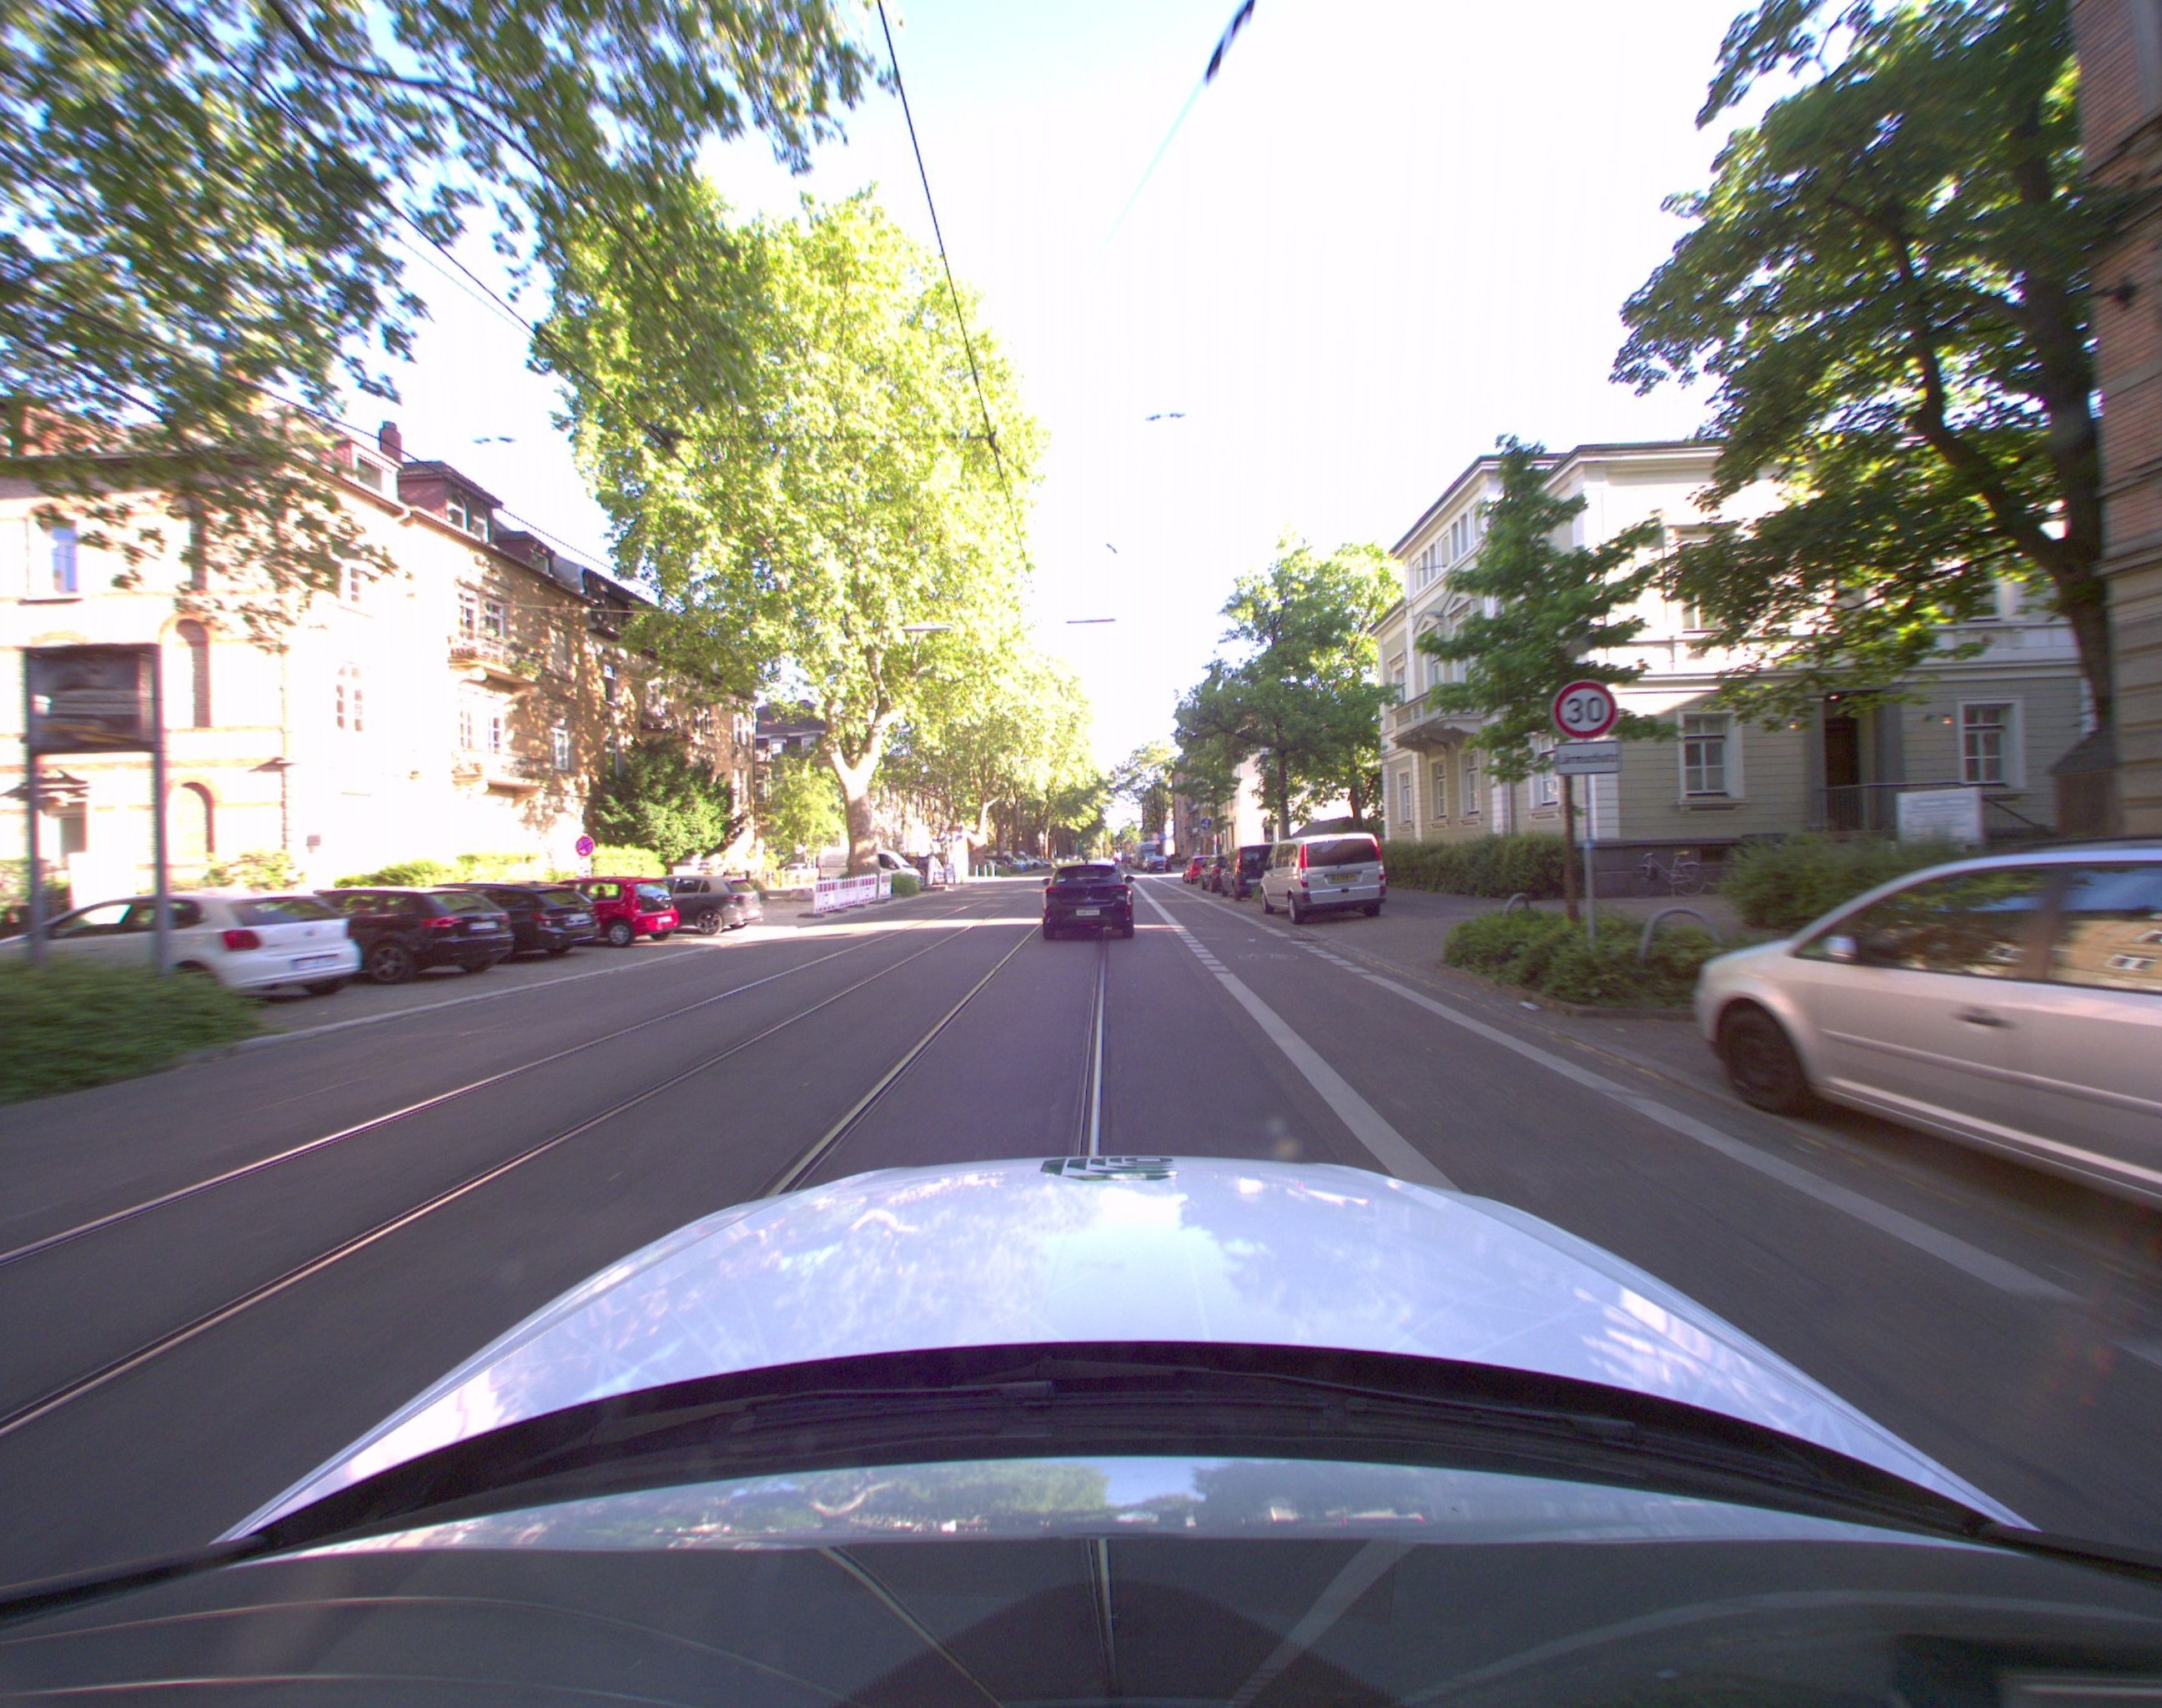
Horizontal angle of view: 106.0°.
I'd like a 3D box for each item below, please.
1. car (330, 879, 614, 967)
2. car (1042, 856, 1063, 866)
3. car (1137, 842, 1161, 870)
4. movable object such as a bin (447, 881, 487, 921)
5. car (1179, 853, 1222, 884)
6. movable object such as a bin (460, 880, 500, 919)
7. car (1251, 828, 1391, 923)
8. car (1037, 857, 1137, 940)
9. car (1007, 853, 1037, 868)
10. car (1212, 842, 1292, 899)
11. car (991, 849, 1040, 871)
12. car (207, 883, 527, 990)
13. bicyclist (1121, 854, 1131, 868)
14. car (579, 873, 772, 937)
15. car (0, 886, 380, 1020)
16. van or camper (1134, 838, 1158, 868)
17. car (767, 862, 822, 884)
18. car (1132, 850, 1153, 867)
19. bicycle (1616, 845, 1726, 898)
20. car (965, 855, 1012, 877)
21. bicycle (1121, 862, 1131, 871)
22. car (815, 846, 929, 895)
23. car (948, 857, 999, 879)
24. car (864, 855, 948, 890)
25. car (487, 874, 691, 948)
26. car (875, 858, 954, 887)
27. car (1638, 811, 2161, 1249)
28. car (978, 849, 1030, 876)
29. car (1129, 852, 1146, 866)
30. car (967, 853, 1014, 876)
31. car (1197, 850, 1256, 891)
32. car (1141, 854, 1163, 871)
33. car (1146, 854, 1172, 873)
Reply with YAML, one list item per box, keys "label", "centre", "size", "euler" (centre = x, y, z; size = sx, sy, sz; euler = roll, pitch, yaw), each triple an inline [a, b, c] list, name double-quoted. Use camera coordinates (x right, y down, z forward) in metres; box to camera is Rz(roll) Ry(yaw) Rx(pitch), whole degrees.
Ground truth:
- label: "car"
  centre: [-11.410, 1.267, 15.441]
  size: [4.065, 1.465, 1.822]
  euler: [-1, 0, 3]
- label: "car"
  centre: [-5.617, 1.339, 161.488]
  size: [3.964, 2.014, 2.005]
  euler: [-1, 0, 8]
- label: "car"
  centre: [7.168, 0.224, 86.305]
  size: [2.077, 2.772, 4.699]
  euler: [-3, 0, 2]
- label: "movable object such as a bin"
  centre: [-17.622, 1.357, 23.388]
  size: [0.721, 1.109, 0.543]
  euler: [-1, -1, 3]
- label: "car"
  centre: [6.239, 0.726, 42.941]
  size: [1.696, 1.423, 3.980]
  euler: [-5, 0, 2]
- label: "movable object such as a bin"
  centre: [-17.666, 1.337, 23.947]
  size: [0.720, 1.109, 0.561]
  euler: [-1, -1, 3]
- label: "car"
  centre: [5.497, 0.456, 19.371]
  size: [1.877, 1.851, 4.969]
  euler: [-4, 0, 2]
- label: "car"
  centre: [0.183, 0.797, 16.419]
  size: [1.756, 1.460, 3.952]
  euler: [-1, 0, 2]
- label: "car"
  centre: [-8.120, 0.885, 112.100]
  size: [3.983, 2.014, 1.995]
  euler: [-1, 0, -7]
- label: "car"
  centre: [5.864, 0.538, 28.455]
  size: [1.878, 1.766, 4.680]
  euler: [-2, 0, 2]
- label: "car"
  centre: [-7.937, 0.704, 98.815]
  size: [5.611, 2.593, 2.199]
  euler: [-1, 0, 5]
- label: "car"
  centre: [-11.013, 1.237, 12.728]
  size: [3.586, 1.465, 1.688]
  euler: [-1, 0, 3]
- label: "bicyclist"
  centre: [4.958, 0.802, 89.484]
  size: [0.955, 1.499, 1.094]
  euler: [-1, 0, 0]
- label: "car"
  centre: [-10.249, 1.256, 20.785]
  size: [3.972, 1.465, 1.855]
  euler: [-1, 0, 1]
- label: "car"
  centre: [-11.310, 1.199, 10.341]
  size: [3.404, 1.465, 1.699]
  euler: [-1, 0, 4]
- label: "van or camper"
  centre: [7.356, -0.113, 92.920]
  size: [2.245, 3.216, 5.533]
  euler: [-3, 0, 2]
- label: "car"
  centre: [-22.471, 1.450, 64.139]
  size: [1.843, 1.592, 4.755]
  euler: [-1, 0, 11]
- label: "car"
  centre: [7.528, 0.532, 100.115]
  size: [2.245, 1.840, 5.533]
  euler: [-3, 0, 2]
- label: "bicycle"
  centre: [12.621, 0.368, 17.461]
  size: [1.906, 1.036, 0.562]
  euler: [-2, -1, 1]
- label: "car"
  centre: [-8.715, 1.106, 77.075]
  size: [4.294, 1.674, 1.779]
  euler: [-5, -1, -6]
- label: "bicycle"
  centre: [4.978, 1.371, 89.491]
  size: [0.964, 0.999, 2.583]
  euler: [-1, 0, 1]
- label: "car"
  centre: [-10.257, 0.802, 40.267]
  size: [5.019, 2.259, 2.084]
  euler: [-1, 0, -2]
- label: "car"
  centre: [-9.513, 1.250, 72.510]
  size: [4.294, 1.593, 1.779]
  euler: [-5, -1, -6]
- label: "car"
  centre: [-9.872, 1.025, 46.183]
  size: [4.287, 1.801, 1.925]
  euler: [-1, 0, -1]
- label: "car"
  centre: [-10.751, 1.218, 17.947]
  size: [3.404, 1.465, 1.761]
  euler: [-1, 0, 4]
- label: "car"
  centre: [-9.953, 1.079, 48.820]
  size: [4.287, 1.607, 1.925]
  euler: [-1, 0, -1]
- label: "car"
  centre: [4.913, 0.615, 3.690]
  size: [1.877, 1.568, 4.244]
  euler: [-4, 0, 2]
- label: "car"
  centre: [-8.131, 0.892, 86.094]
  size: [5.017, 2.374, 2.082]
  euler: [-5, -1, 2]
- label: "car"
  centre: [8.368, 0.758, 121.261]
  size: [2.245, 1.840, 5.533]
  euler: [-3, 0, 2]
- label: "car"
  centre: [-8.807, 1.008, 79.408]
  size: [4.294, 1.840, 1.779]
  euler: [-5, -1, -6]
- label: "car"
  centre: [6.040, 0.677, 34.256]
  size: [1.706, 1.514, 4.037]
  euler: [-4, 0, 1]
- label: "car"
  centre: [6.893, 0.856, 79.145]
  size: [1.796, 1.434, 4.001]
  euler: [-3, -1, 2]
- label: "car"
  centre: [6.581, 0.783, 68.971]
  size: [1.877, 1.434, 4.532]
  euler: [-4, 0, 2]
